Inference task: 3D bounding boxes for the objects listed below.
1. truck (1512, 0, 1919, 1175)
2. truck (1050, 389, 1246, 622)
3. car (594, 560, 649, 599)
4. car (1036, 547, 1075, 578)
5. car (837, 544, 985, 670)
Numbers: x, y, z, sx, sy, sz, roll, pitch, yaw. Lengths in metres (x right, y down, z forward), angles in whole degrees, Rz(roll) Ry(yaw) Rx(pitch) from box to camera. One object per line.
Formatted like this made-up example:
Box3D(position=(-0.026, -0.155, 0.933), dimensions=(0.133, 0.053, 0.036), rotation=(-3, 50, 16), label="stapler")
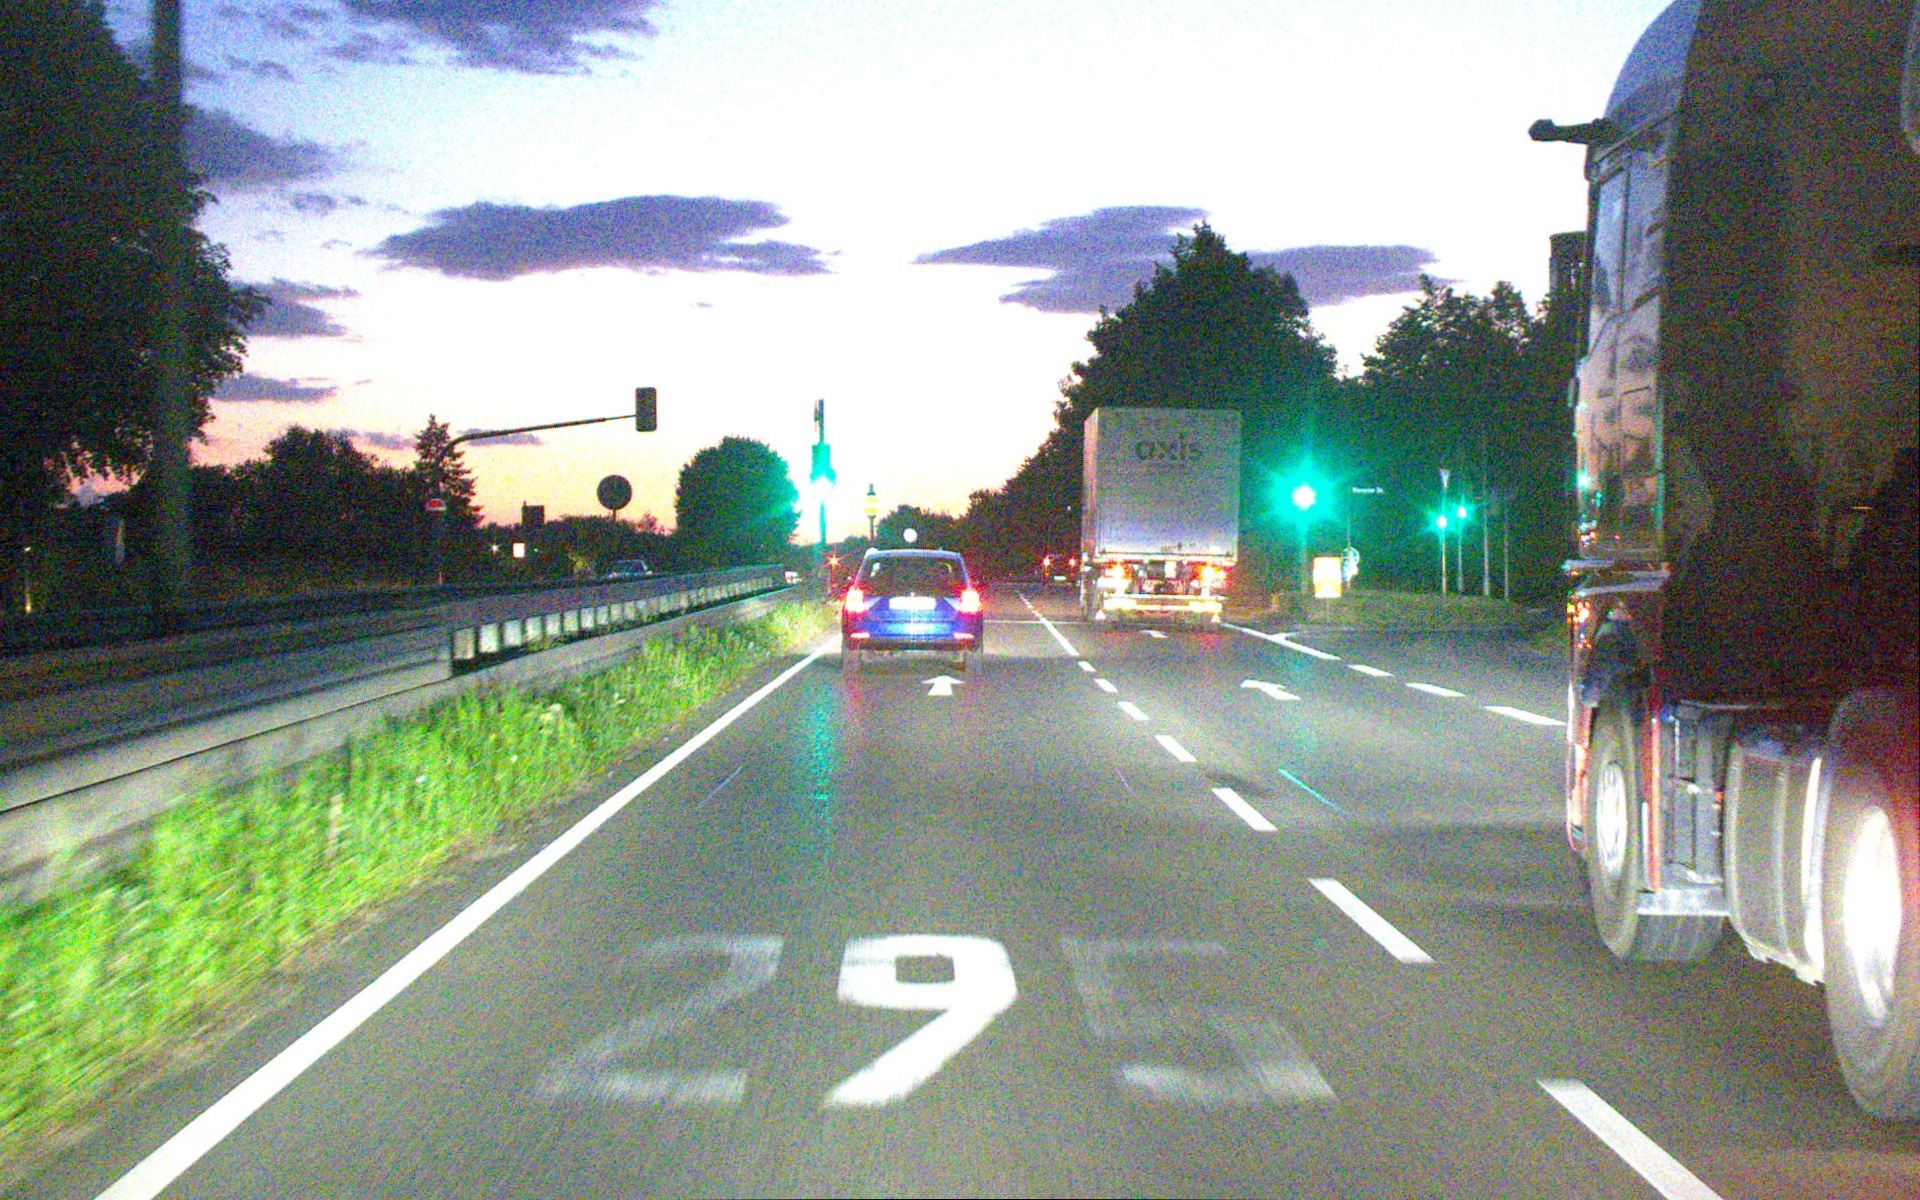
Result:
Box3D(position=(3.653, -0.657, 7.965), dimensions=(2.687, 4.092, 13.142), rotation=(1, 1, 0), label="truck")
Box3D(position=(3.484, -1.778, 67.137), dimensions=(2.883, 4.092, 12.684), rotation=(1, 1, -1), label="truck")
Box3D(position=(-12.161, -0.751, 123.652), dimensions=(1.605, 1.325, 3.940), rotation=(-2, 1, -1), label="car")
Box3D(position=(4.575, -1.810, 164.538), dimensions=(1.695, 1.447, 3.914), rotation=(1, 1, -1), label="car")
Box3D(position=(-0.602, 0.051, 41.906), dimensions=(1.695, 1.447, 3.914), rotation=(1, 1, -1), label="car")
